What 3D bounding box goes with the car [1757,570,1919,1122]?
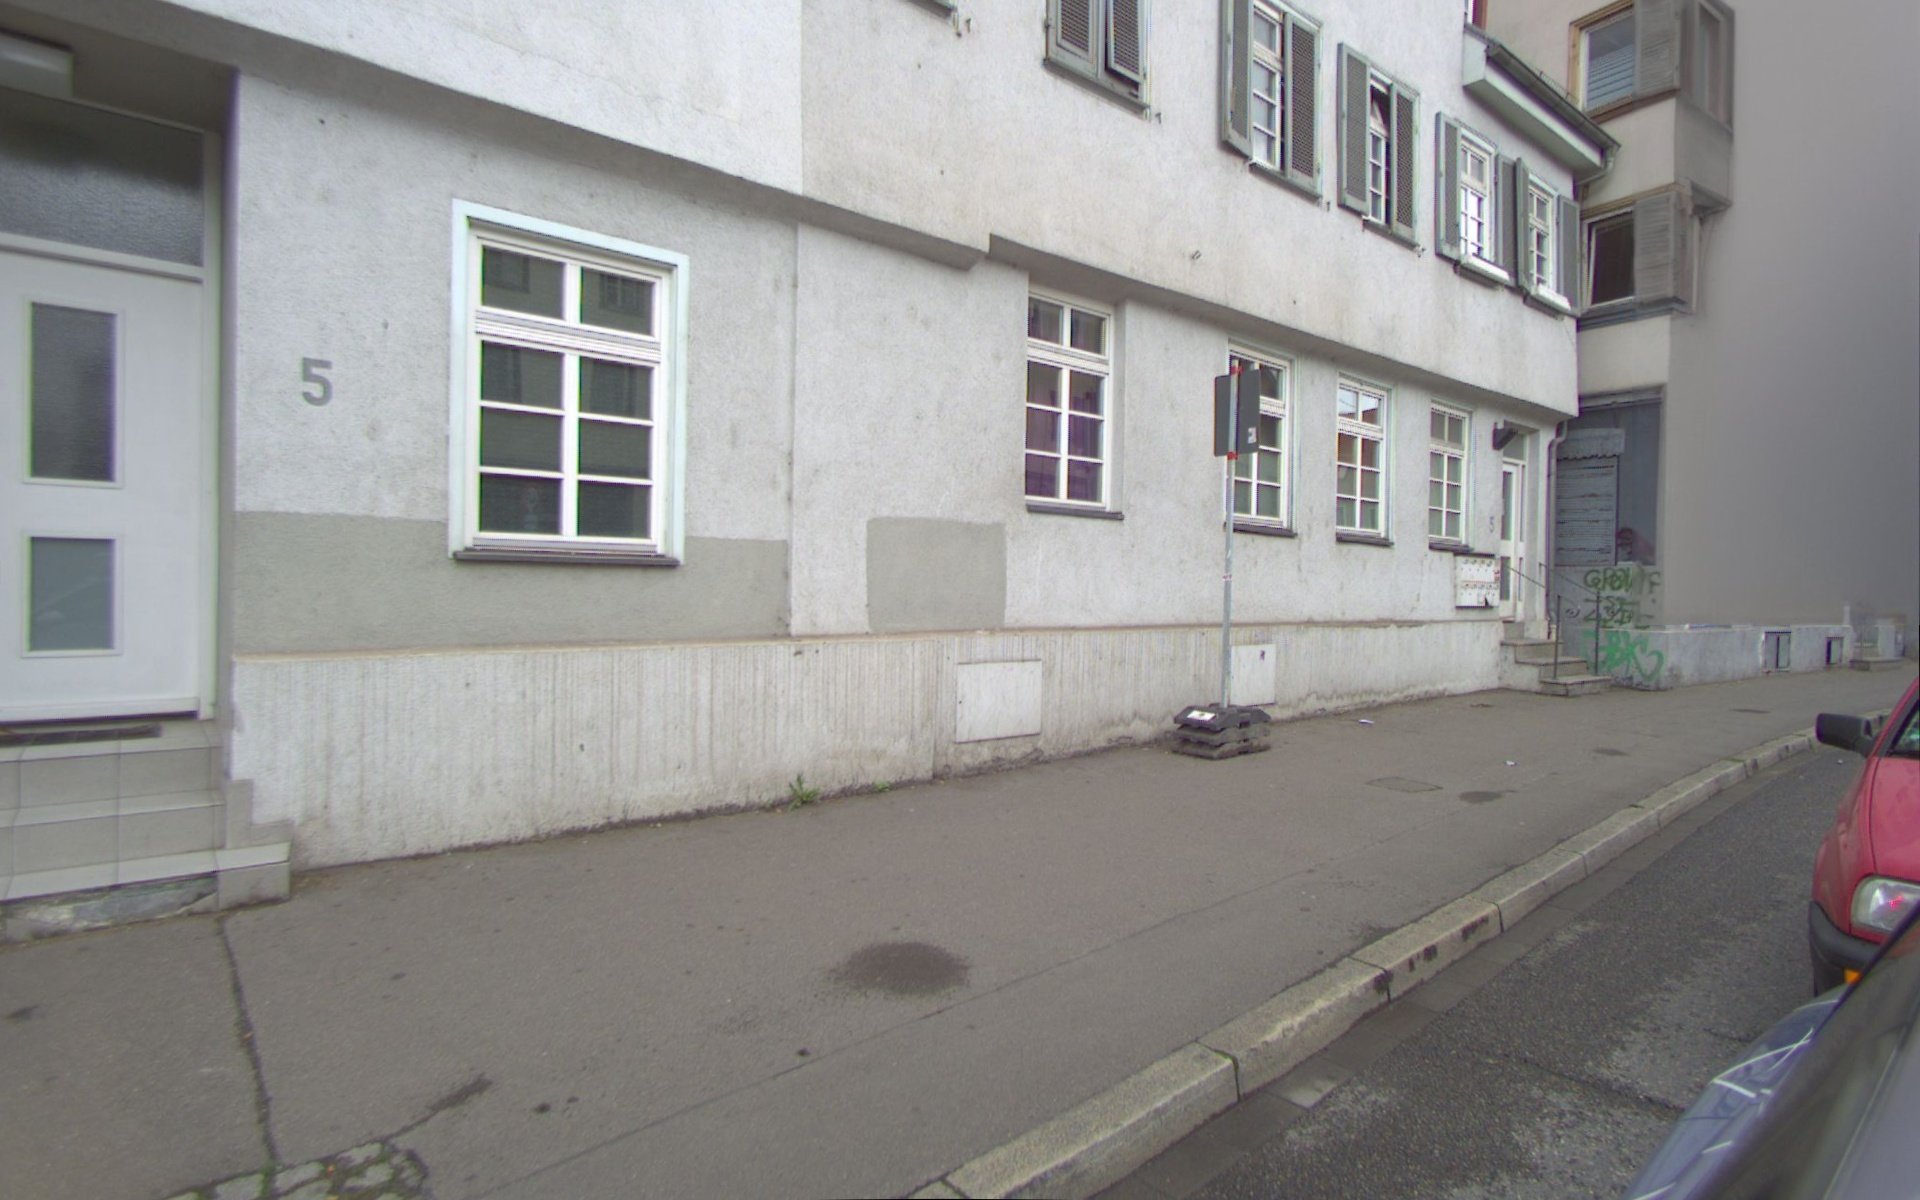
[{"bbox_3d":[4.387,0.617,3.474,3.928,1.443,1.792,-2,2,-39],"label":"car"}]
